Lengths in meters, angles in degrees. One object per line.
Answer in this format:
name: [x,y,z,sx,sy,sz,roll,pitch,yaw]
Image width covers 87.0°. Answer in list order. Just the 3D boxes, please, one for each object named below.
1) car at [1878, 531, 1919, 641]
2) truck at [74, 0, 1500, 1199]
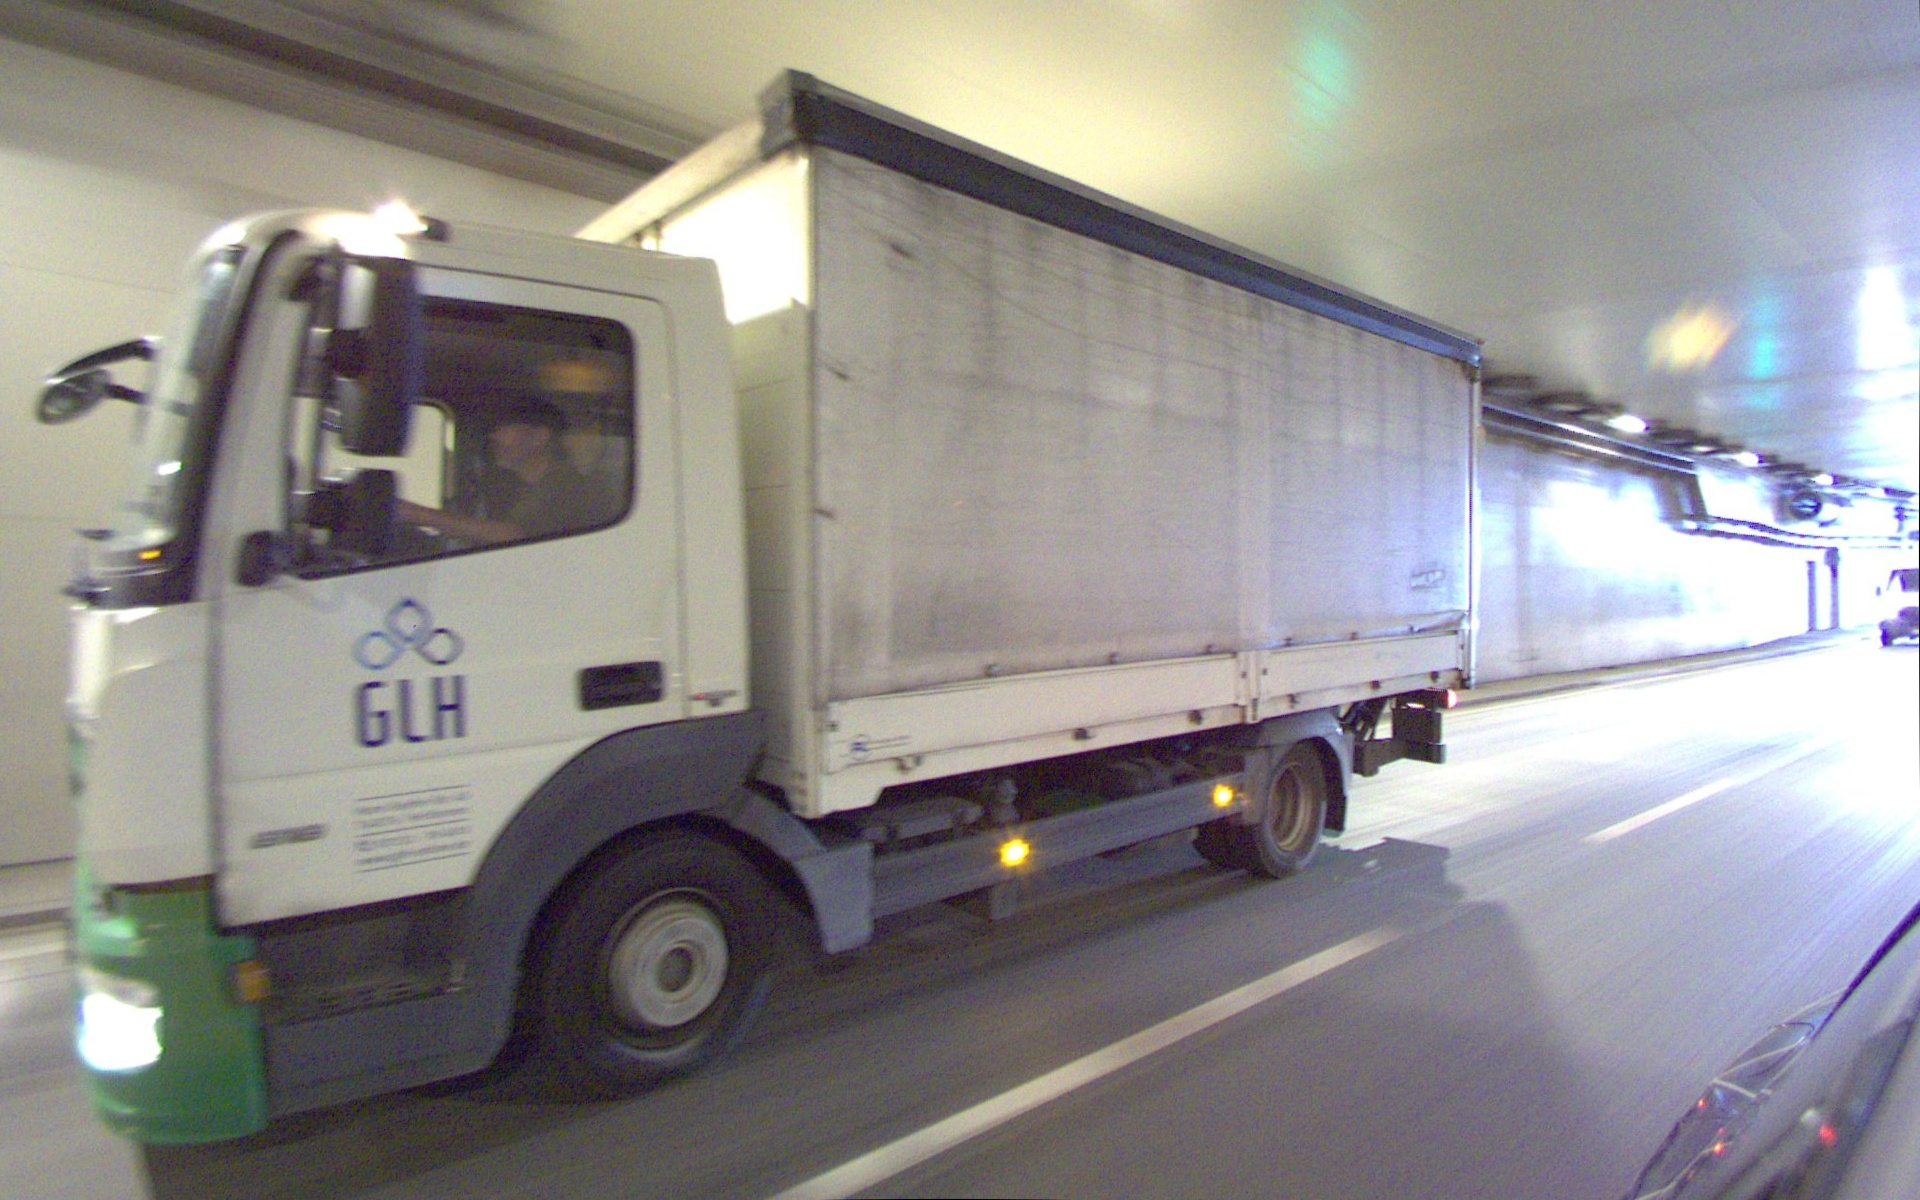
car: [27.856,-0.486,28.374,6.740,2.883,2.105,-2,-1,-40]
truck: [0.108,-0.199,5.299,7.121,3.221,2.557,0,0,-42]
